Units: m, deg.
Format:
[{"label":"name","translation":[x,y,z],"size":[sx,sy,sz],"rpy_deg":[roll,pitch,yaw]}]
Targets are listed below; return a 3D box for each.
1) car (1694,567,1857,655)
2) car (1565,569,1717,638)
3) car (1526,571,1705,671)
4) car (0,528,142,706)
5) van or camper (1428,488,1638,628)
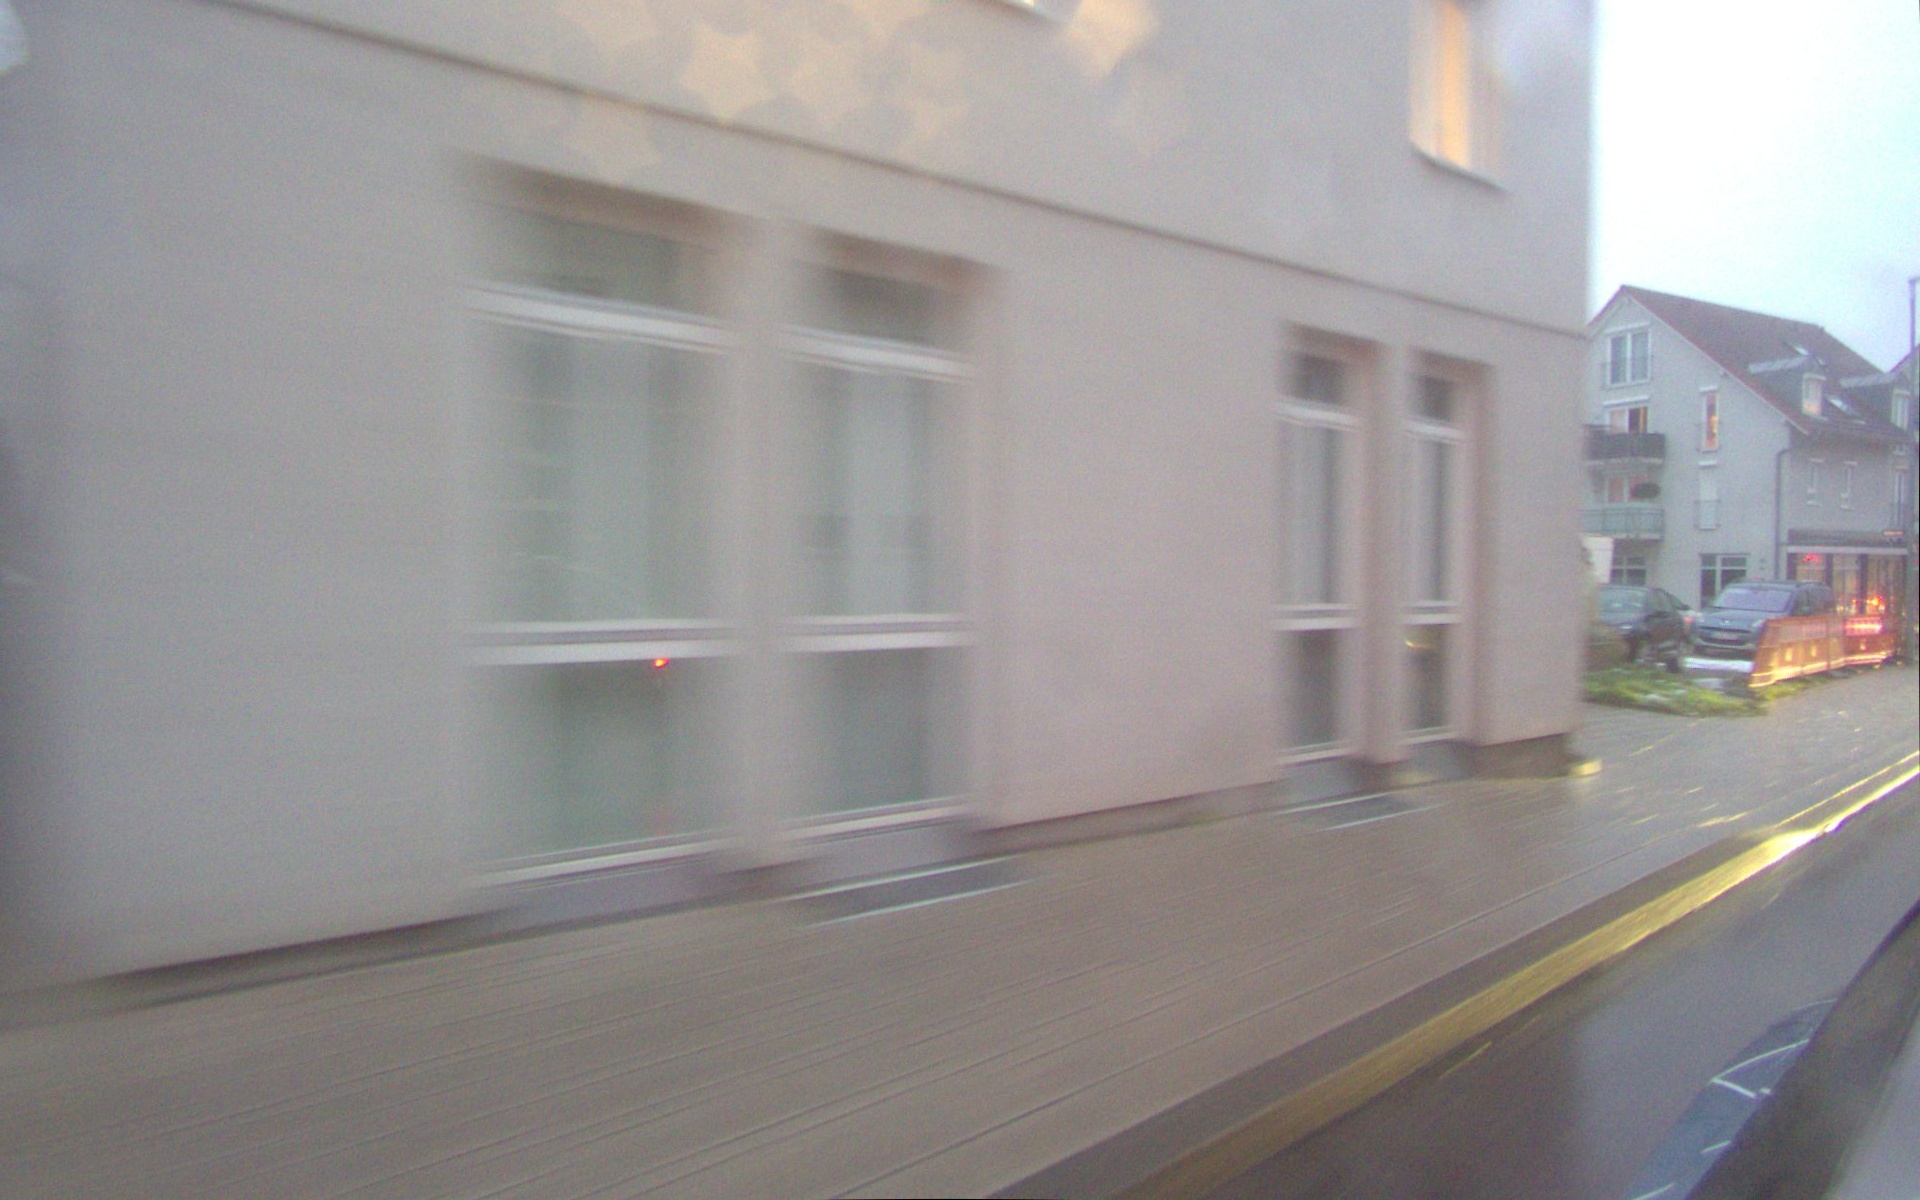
[{"label":"car","translation":[18.753,0.216,23.233],"size":[4.162,1.845,1.787],"rpy_deg":[0,2,-35]},{"label":"car","translation":[17.588,0.073,26.081],"size":[4.163,1.560,1.788],"rpy_deg":[0,4,-35]},{"label":"car","translation":[11.183,0.338,17.177],"size":[1.782,1.424,3.693],"rpy_deg":[5,2,44]},{"label":"car","translation":[-9.166,0.122,7.779],"size":[1.773,1.486,4.199],"rpy_deg":[2,2,19]},{"label":"van or camper","translation":[16.412,-1.147,28.800],"size":[6.991,3.551,2.440],"rpy_deg":[0,4,-37]}]
